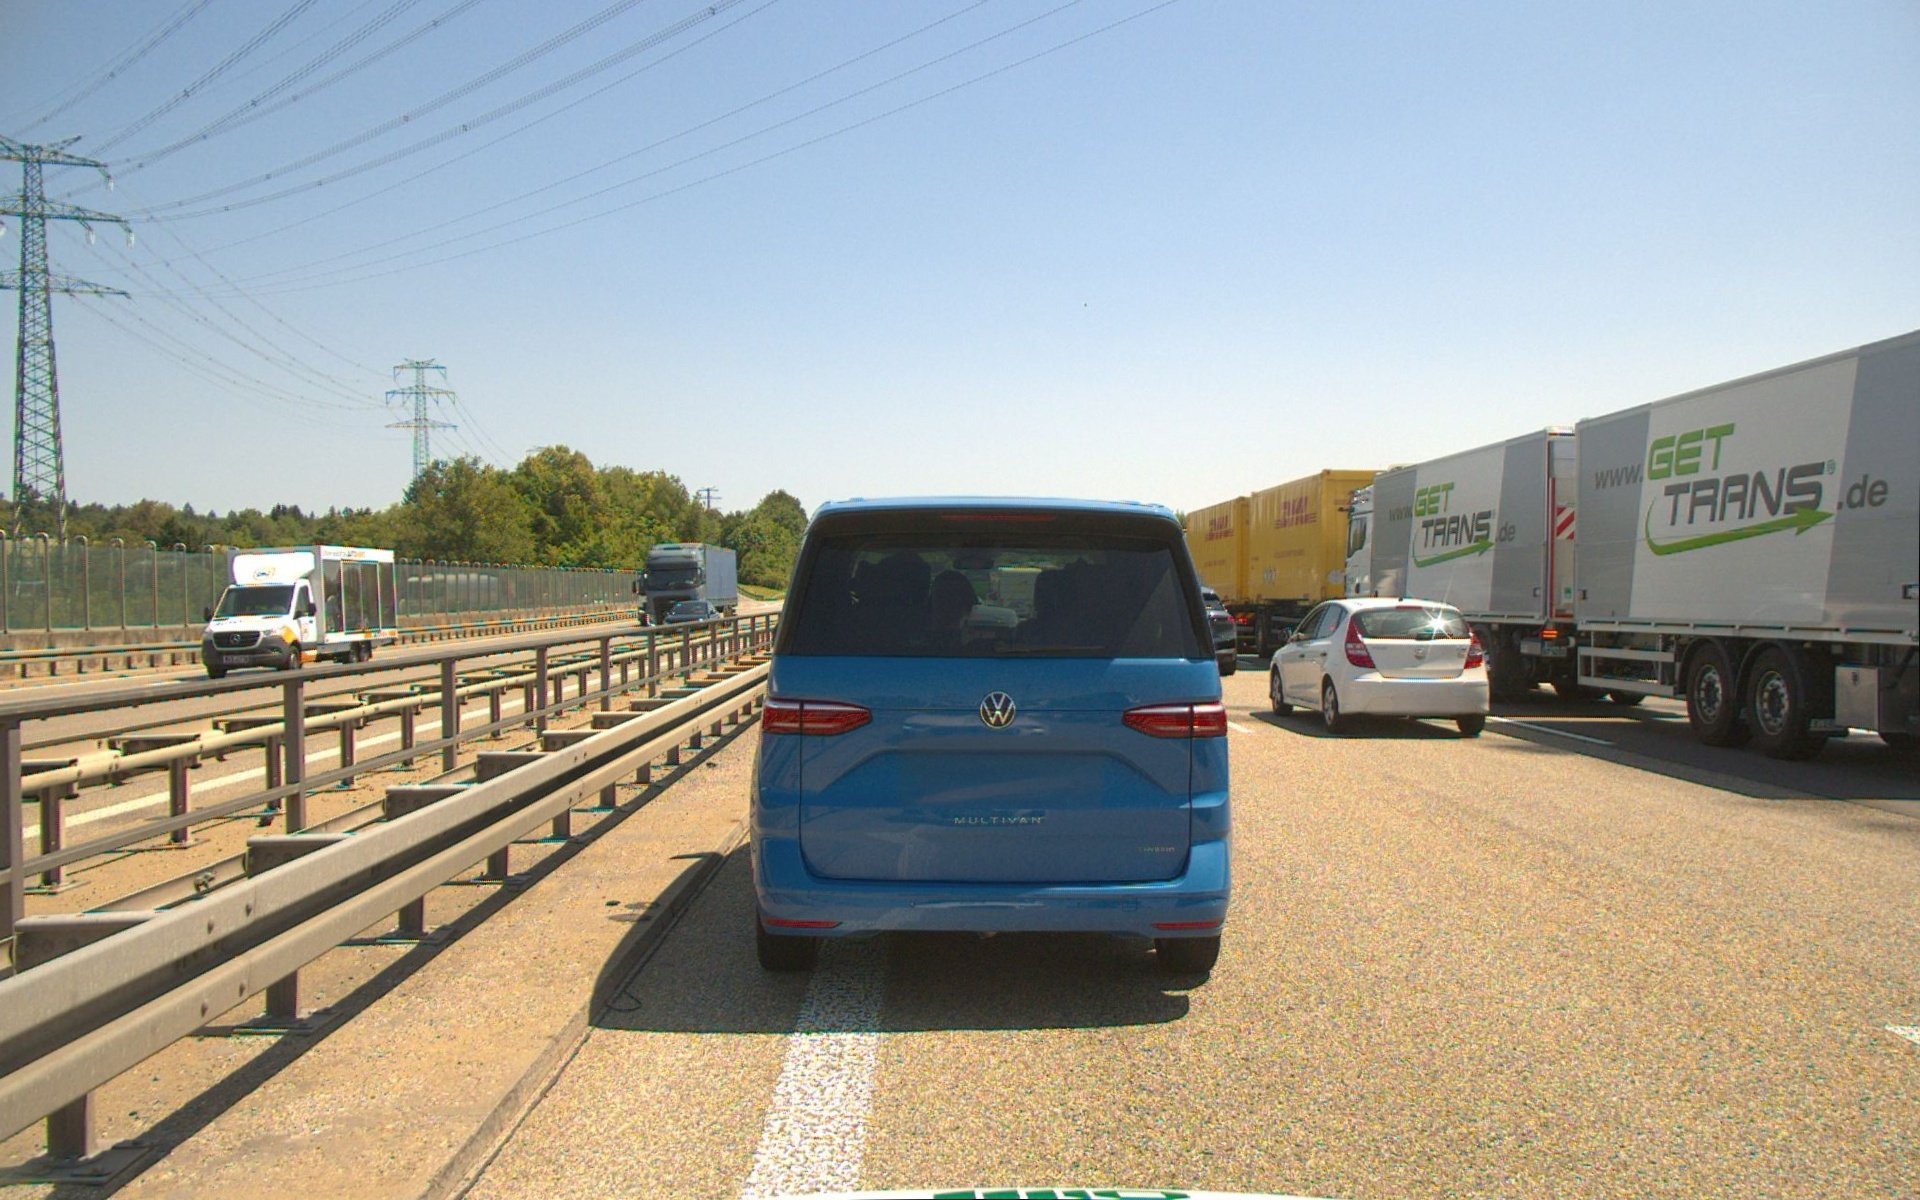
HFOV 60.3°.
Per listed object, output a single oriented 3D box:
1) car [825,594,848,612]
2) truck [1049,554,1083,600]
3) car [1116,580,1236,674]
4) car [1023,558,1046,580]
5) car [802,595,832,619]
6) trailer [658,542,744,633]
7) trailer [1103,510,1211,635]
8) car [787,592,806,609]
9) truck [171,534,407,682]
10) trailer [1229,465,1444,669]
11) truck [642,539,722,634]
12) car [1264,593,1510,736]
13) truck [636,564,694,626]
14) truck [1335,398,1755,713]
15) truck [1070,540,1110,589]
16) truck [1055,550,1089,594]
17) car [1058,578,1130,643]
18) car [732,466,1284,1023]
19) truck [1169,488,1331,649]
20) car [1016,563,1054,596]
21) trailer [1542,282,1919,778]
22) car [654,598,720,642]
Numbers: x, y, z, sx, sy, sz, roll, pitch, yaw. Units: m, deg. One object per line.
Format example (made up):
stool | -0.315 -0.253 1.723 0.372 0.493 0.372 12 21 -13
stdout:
car | -11.193 0.292 150.005 1.844 1.579 4.188 1 0 -2
truck | 6.319 -1.339 98.752 1.706 2.593 4.209 1 0 -1
car | 4.202 0.512 32.724 1.778 1.708 3.931 1 0 -1
car | 6.469 -2.681 143.794 1.760 1.782 3.942 1 0 -1
car | -9.732 0.454 112.894 1.844 1.579 4.188 1 0 -2
trailer | -13.048 -0.544 84.325 2.650 4.238 12.046 -2 0 -1
trailer | 7.901 -1.005 67.821 2.964 4.692 10.923 1 0 0
car | -17.575 0.081 178.144 1.770 1.668 3.998 -2 0 -2
truck | -16.687 0.196 41.869 2.511 3.244 8.292 -3 0 -1
trailer | 8.521 -0.656 38.686 2.628 4.159 8.976 1 0 -2
truck | -12.887 -0.597 77.173 2.697 4.188 6.263 -1 0 -1
car | 4.903 0.697 19.553 1.778 1.496 3.930 1 0 -2
truck | -17.923 -0.267 100.749 2.469 3.596 5.329 -2 0 0
truck | 8.745 -0.544 26.607 2.794 4.003 10.607 1 0 -1
truck | 7.061 -1.892 89.969 1.761 2.492 4.503 1 0 -1
truck | 7.042 -1.705 104.012 1.760 2.641 4.305 1 0 -1
car | 4.303 0.340 53.696 1.922 1.970 3.931 1 0 -1
car | 0.145 0.516 7.749 1.891 1.906 3.999 1 0 -1
truck | 8.191 -0.794 48.074 2.645 4.159 9.936 1 0 -2
car | 4.212 -1.132 93.207 1.880 1.736 3.999 1 0 -1
trailer | 8.989 -0.517 17.148 2.840 3.959 8.212 1 0 -1
car | -9.881 0.716 60.141 1.761 1.524 3.851 -2 0 -1
